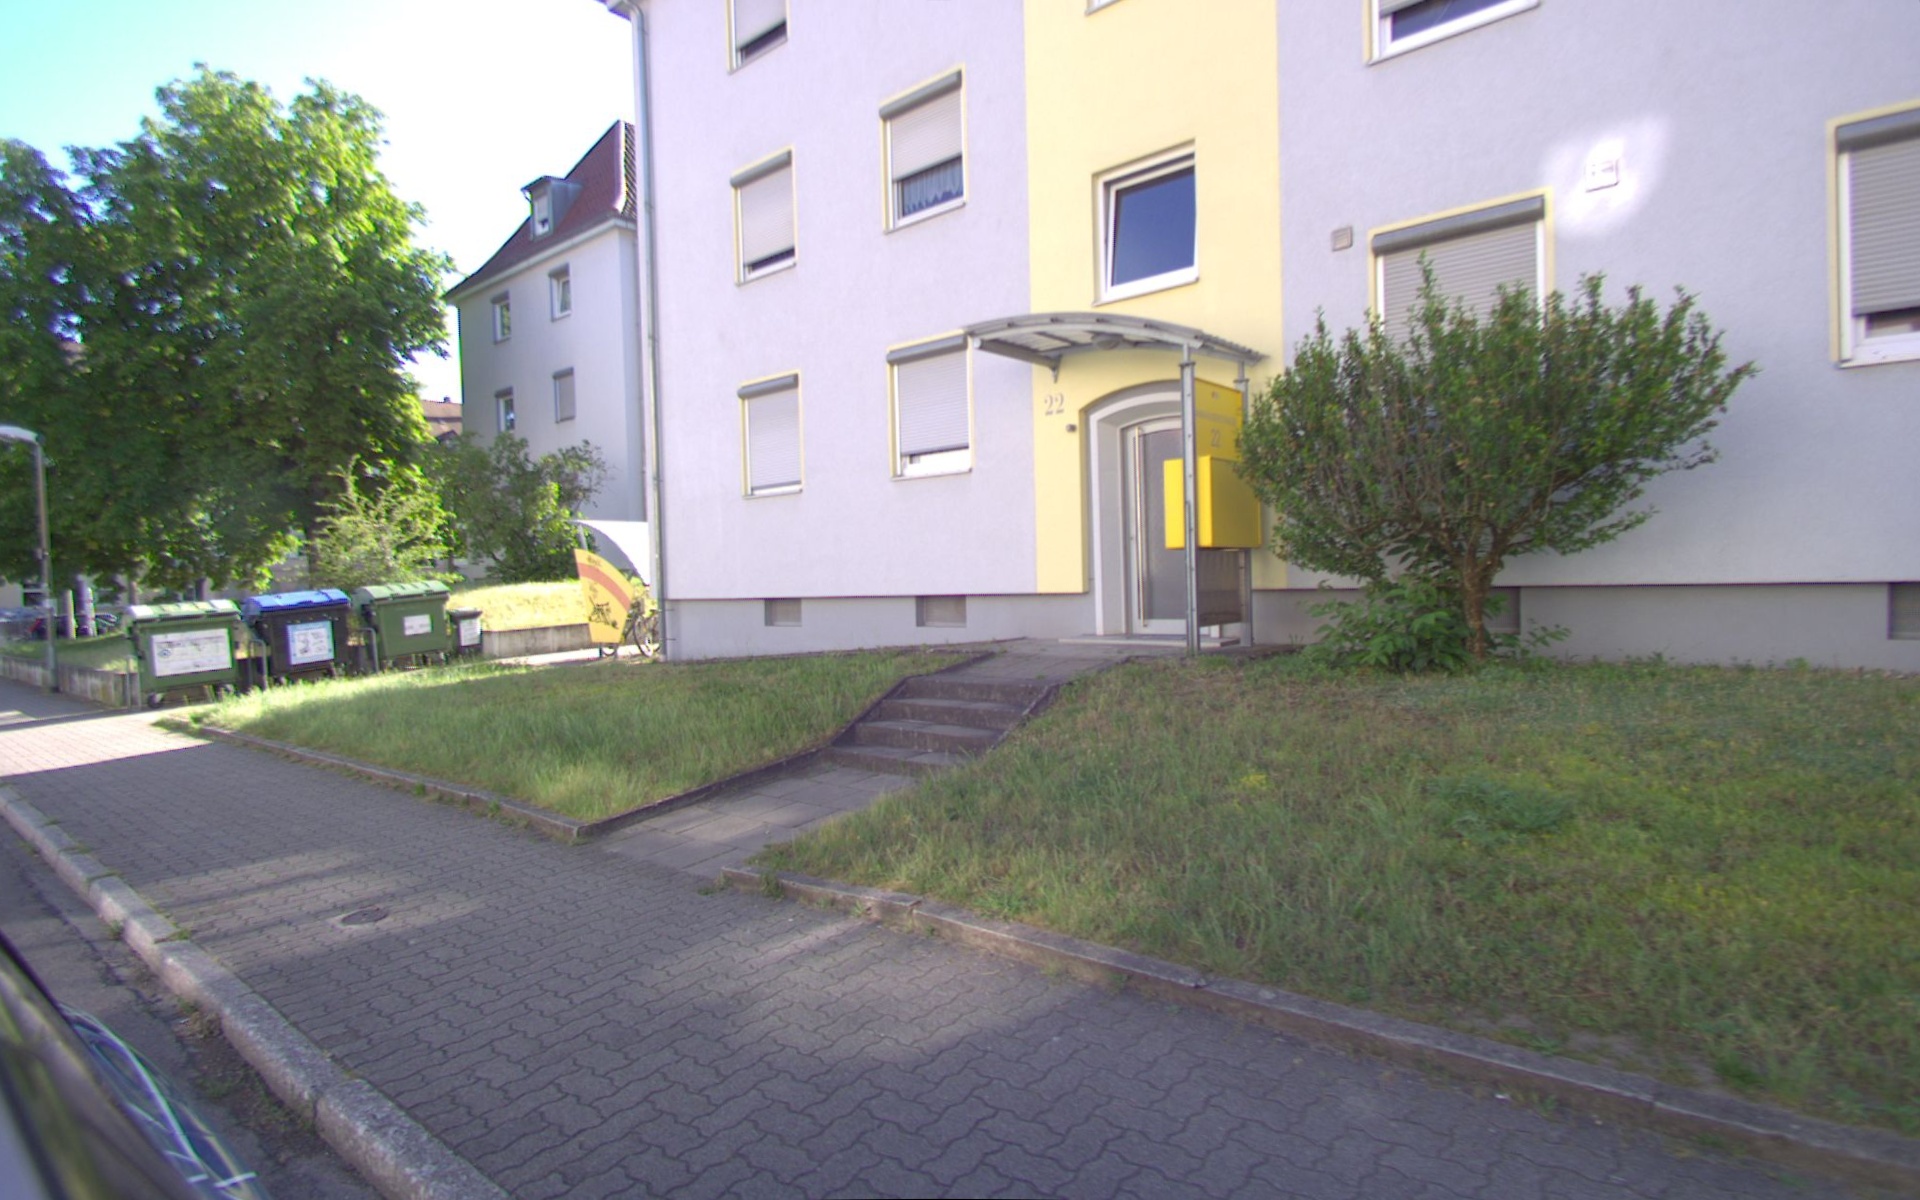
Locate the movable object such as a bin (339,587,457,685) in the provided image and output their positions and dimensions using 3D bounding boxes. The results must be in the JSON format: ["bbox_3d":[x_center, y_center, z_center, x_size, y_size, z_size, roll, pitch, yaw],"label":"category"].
[{"bbox_3d":[-9.531,0.590,17.179,1.072,1.463,1.347,-1,5,41],"label":"movable object such as a bin"}]

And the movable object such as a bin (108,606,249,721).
[{"bbox_3d":[-11.422,0.891,14.802,1.197,1.470,1.302,-1,4,41],"label":"movable object such as a bin"}]

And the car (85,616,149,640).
[{"bbox_3d":[-58.000,1.944,69.680,1.544,1.519,3.152,-2,0,40],"label":"car"}]

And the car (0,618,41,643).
[{"bbox_3d":[-57.878,1.876,60.867,1.624,1.456,3.737,-2,0,42],"label":"car"}]

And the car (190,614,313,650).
[{"bbox_3d":[-28.655,1.263,41.012,1.629,1.282,3.813,-2,0,40],"label":"car"}]

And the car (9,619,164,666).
[{"bbox_3d":[-31.856,1.496,36.991,1.728,1.508,4.087,-2,0,40],"label":"car"}]

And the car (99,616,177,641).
[{"bbox_3d":[-53.596,1.862,66.032,1.624,1.456,3.737,-2,0,42],"label":"car"}]

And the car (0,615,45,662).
[{"bbox_3d":[-35.369,1.422,37.738,3.306,1.667,1.655,-2,0,45],"label":"car"}]

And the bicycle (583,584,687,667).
[{"bbox_3d":[-5.356,0.410,16.635,2.008,1.260,0.633,-1,1,41],"label":"bicycle"}]

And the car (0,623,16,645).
[{"bbox_3d":[-62.295,2.202,64.387,1.544,1.329,3.152,-2,0,40],"label":"car"}]

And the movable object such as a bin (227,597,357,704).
[{"bbox_3d":[-10.523,0.763,15.969,1.082,1.470,1.342,-1,5,41],"label":"movable object such as a bin"}]
